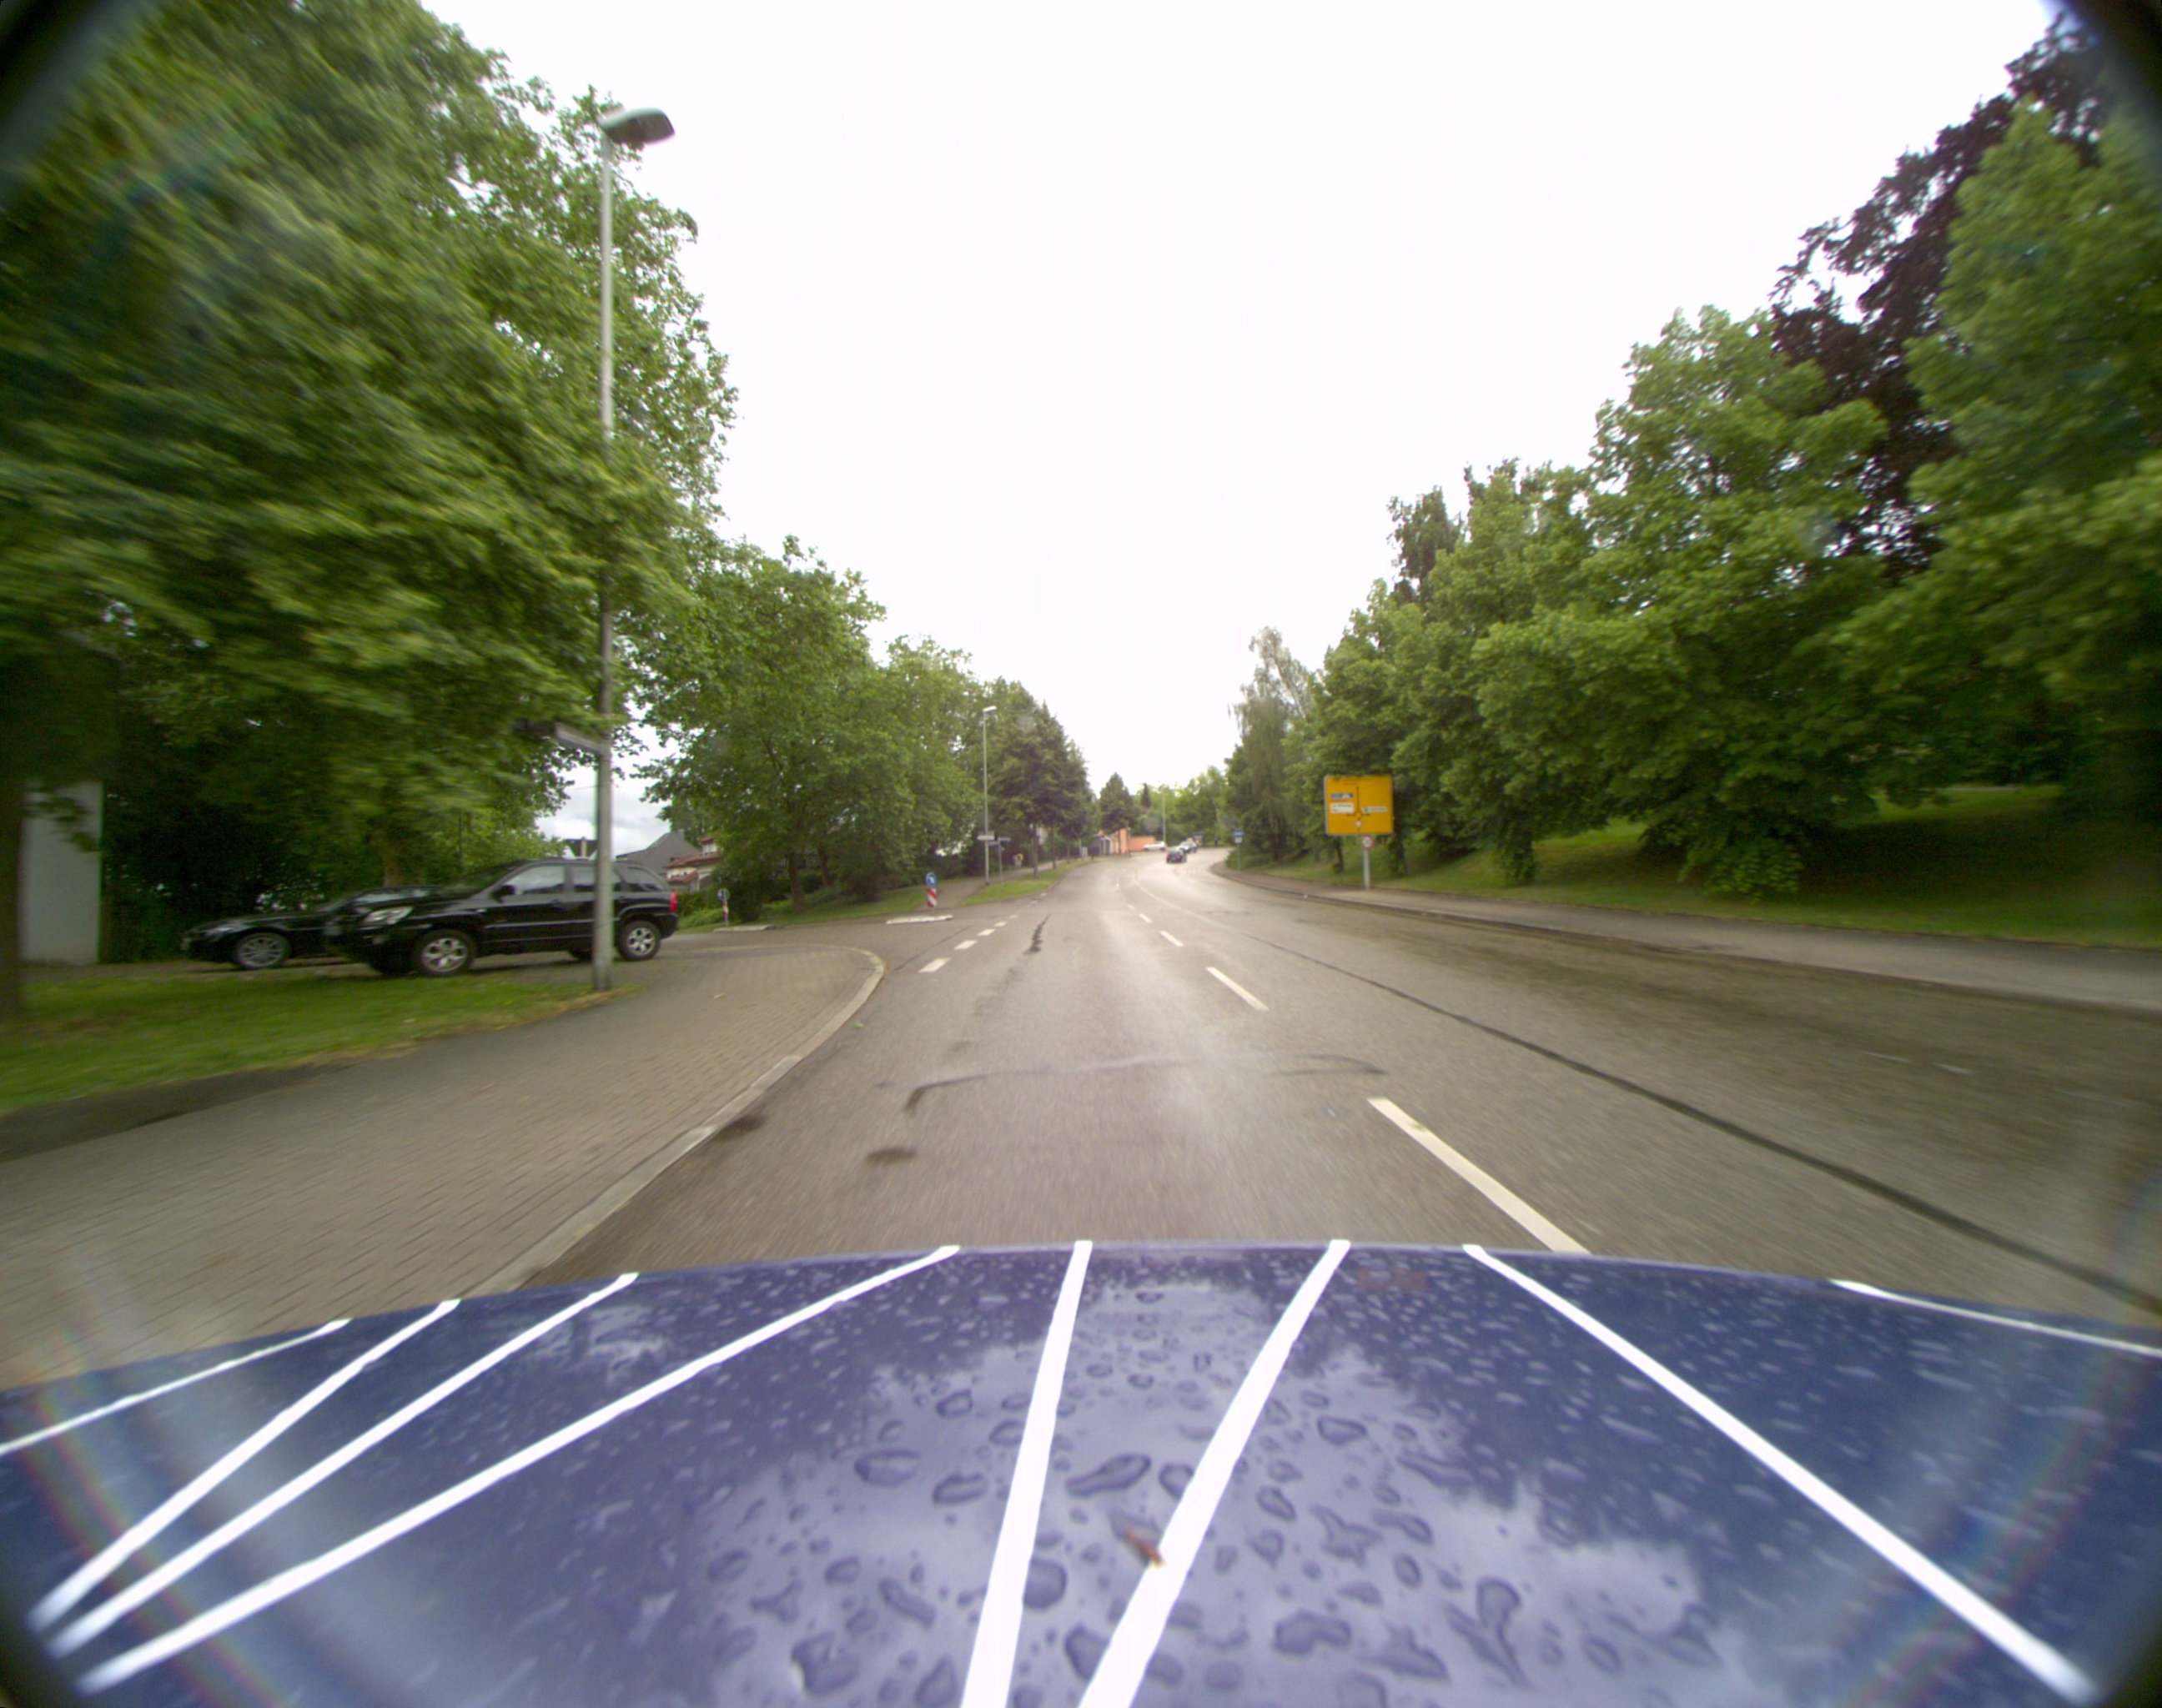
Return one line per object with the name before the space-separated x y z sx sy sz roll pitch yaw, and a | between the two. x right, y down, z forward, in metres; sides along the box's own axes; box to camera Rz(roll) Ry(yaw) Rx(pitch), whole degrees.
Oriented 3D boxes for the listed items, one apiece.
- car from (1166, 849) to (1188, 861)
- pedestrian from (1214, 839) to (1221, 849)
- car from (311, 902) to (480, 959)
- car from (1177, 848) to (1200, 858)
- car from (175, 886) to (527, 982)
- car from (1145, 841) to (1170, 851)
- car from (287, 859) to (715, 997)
car | 10.887 0.111 85.926 1.723 1.375 4.145 0 0 18
pedestrian | 24.559 -1.800 136.869 0.926 1.645 1.099 -1 1 23
car | -34.509 3.756 38.550 6.162 2.657 2.351 3 -4 -40
car | 15.521 -0.158 109.509 1.858 1.406 4.394 -2 -1 29
car | -13.403 1.386 14.253 1.752 1.460 4.576 -4 -4 39
car | 12.727 -1.364 126.093 3.863 1.557 1.729 0 1 13
car | -8.573 1.013 11.836 1.949 1.679 4.914 -3 -3 30
